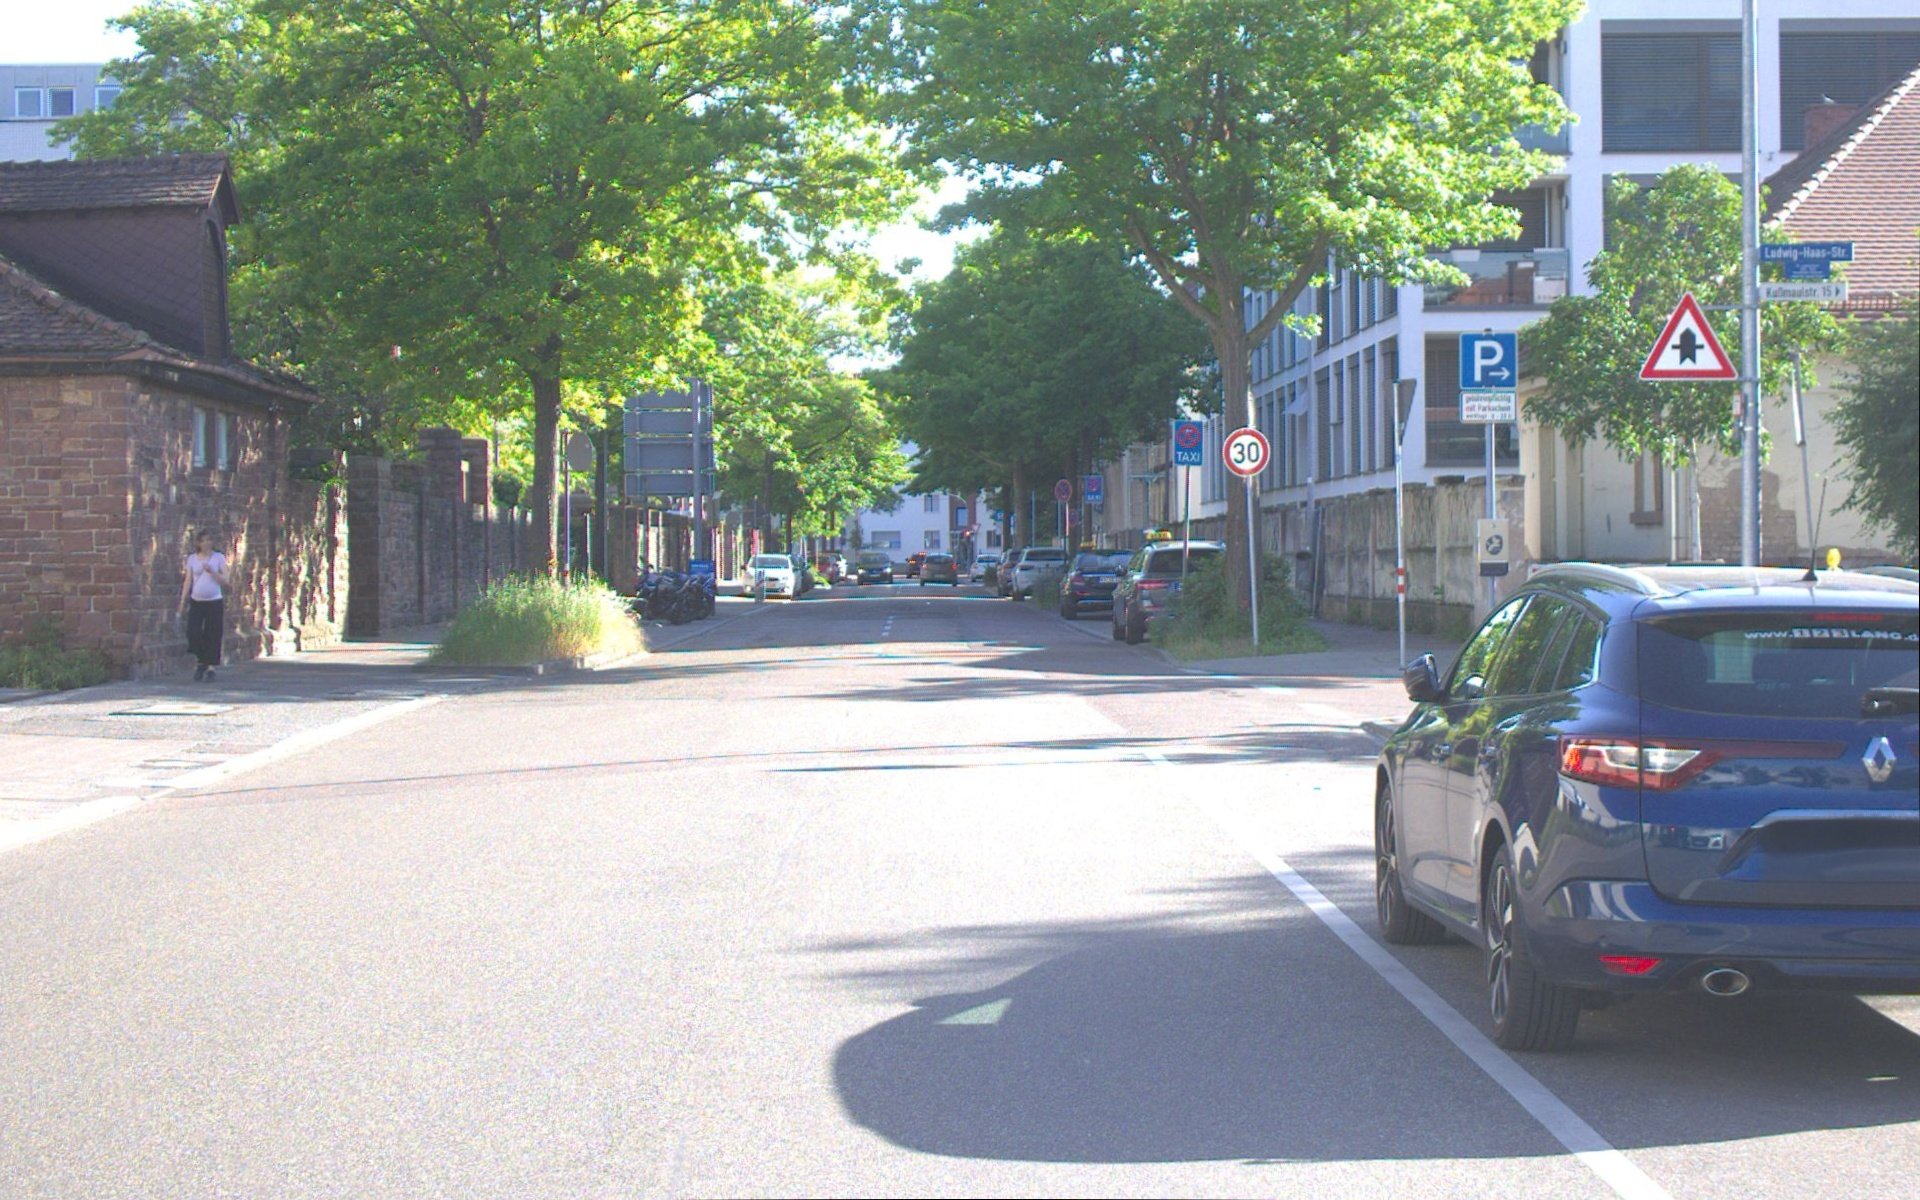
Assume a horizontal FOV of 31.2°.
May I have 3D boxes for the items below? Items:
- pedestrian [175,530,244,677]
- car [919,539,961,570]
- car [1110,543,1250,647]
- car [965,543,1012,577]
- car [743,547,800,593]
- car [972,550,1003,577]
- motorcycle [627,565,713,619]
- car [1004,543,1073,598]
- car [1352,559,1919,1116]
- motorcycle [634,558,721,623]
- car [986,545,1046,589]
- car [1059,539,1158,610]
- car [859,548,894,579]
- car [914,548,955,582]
[{"bbox_3d":[-8.076,0.024,37.013,0.521,1.557,1.096,0,1,-1],"label":"pedestrian"},{"bbox_3d":[-0.920,-2.083,157.455,1.889,1.395,3.836,0,1,0],"label":"car"},{"bbox_3d":[3.222,-0.103,51.103,1.703,1.463,4.789,0,1,-1],"label":"car"},{"bbox_3d":[1.222,-1.741,149.297,1.993,1.420,3.836,0,1,0],"label":"car"},{"bbox_3d":[-6.196,-0.998,113.363,1.767,1.482,4.000,-1,1,-2],"label":"car"},{"bbox_3d":[1.450,-1.953,182.335,1.585,1.395,3.836,0,1,0],"label":"car"},{"bbox_3d":[-5.923,-0.175,70.378,0.577,1.071,2.118,0,1,33],"label":"motorcycle"},{"bbox_3d":[2.300,-0.877,101.178,1.950,1.573,3.836,0,1,0],"label":"car"},{"bbox_3d":[2.448,0.622,11.385,1.818,1.448,4.214,1,1,0],"label":"car"},{"bbox_3d":[-5.663,-0.198,69.068,0.577,1.271,2.118,0,1,33],"label":"motorcycle"},{"bbox_3d":[1.885,-1.119,116.773,1.993,1.460,3.836,0,1,0],"label":"car"},{"bbox_3d":[3.091,-0.551,72.368,1.767,1.435,4.000,-1,1,-2],"label":"car"},{"bbox_3d":[-4.168,-1.833,171.917,1.653,1.525,4.000,0,1,-1],"label":"car"},{"bbox_3d":[-1.183,-1.607,156.664,1.767,1.543,4.066,-1,1,-2],"label":"car"}]
